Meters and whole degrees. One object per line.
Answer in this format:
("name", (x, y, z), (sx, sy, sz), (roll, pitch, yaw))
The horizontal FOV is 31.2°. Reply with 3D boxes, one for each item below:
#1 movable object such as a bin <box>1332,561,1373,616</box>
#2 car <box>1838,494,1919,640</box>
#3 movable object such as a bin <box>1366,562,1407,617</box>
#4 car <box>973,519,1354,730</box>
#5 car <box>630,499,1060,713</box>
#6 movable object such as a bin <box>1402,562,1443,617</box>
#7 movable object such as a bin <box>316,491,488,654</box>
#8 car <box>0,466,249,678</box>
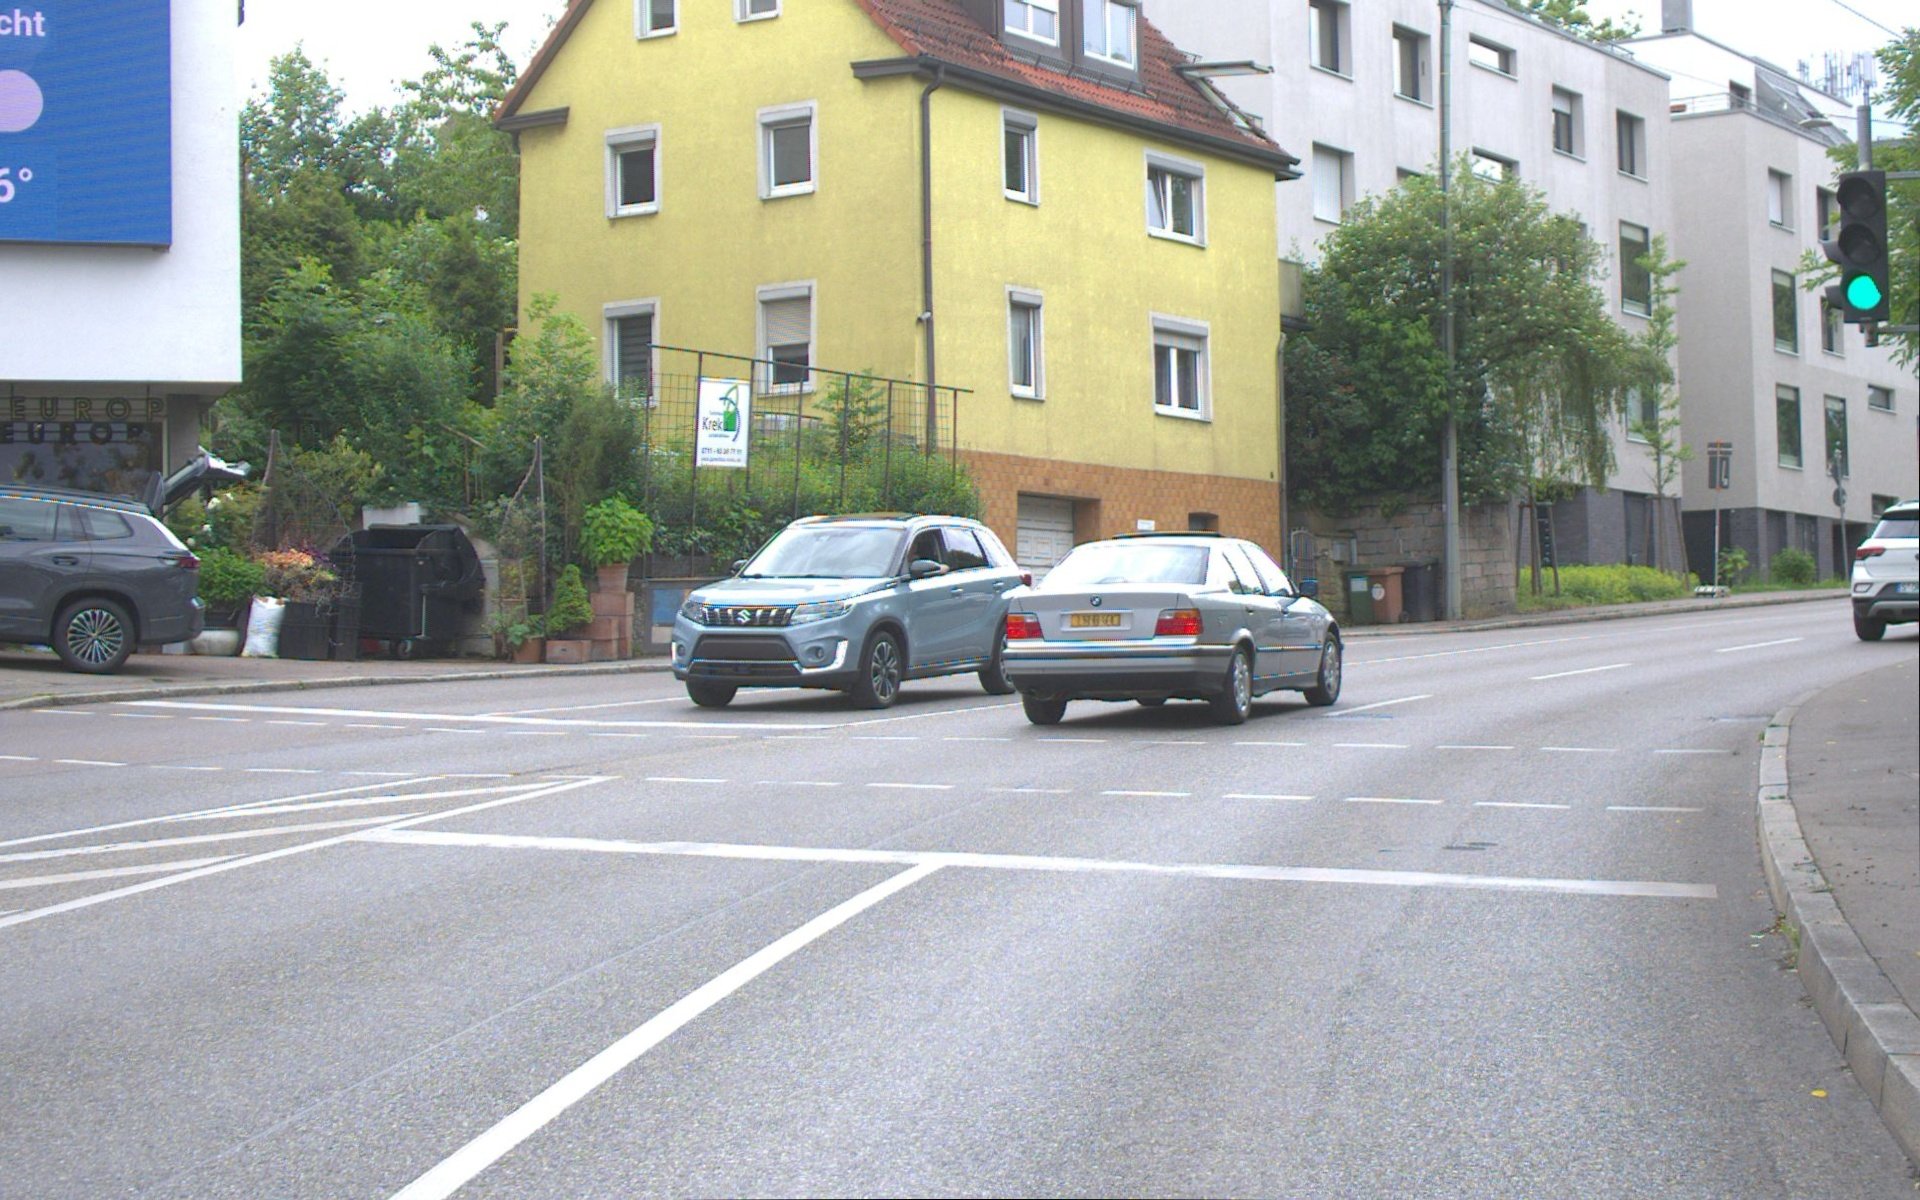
("movable object such as a bin", (6.486, -0.193, 56.788), (0.568, 0.882, 0.609), (1, 1, 16))
("car", (11.372, -0.393, 38.896), (1.783, 1.573, 3.993), (1, 1, 30))
("movable object such as a bin", (6.955, -0.176, 56.011), (0.568, 0.882, 0.609), (1, 1, 16))
("car", (1.624, 0.137, 25.990), (1.708, 1.459, 3.996), (-1, 1, 21))
("car", (-0.888, 0.015, 29.437), (1.898, 1.689, 4.341), (0, 1, 25))
("movable object such as a bin", (7.551, -0.172, 56.162), (0.568, 0.882, 0.609), (1, 1, 16))
("movable object such as a bin", (-6.211, -0.322, 38.427), (1.762, 1.773, 1.855), (0, 1, -5))
("car", (-9.197, -0.377, 32.074), (4.686, 1.706, 2.320), (4, 3, -18))
